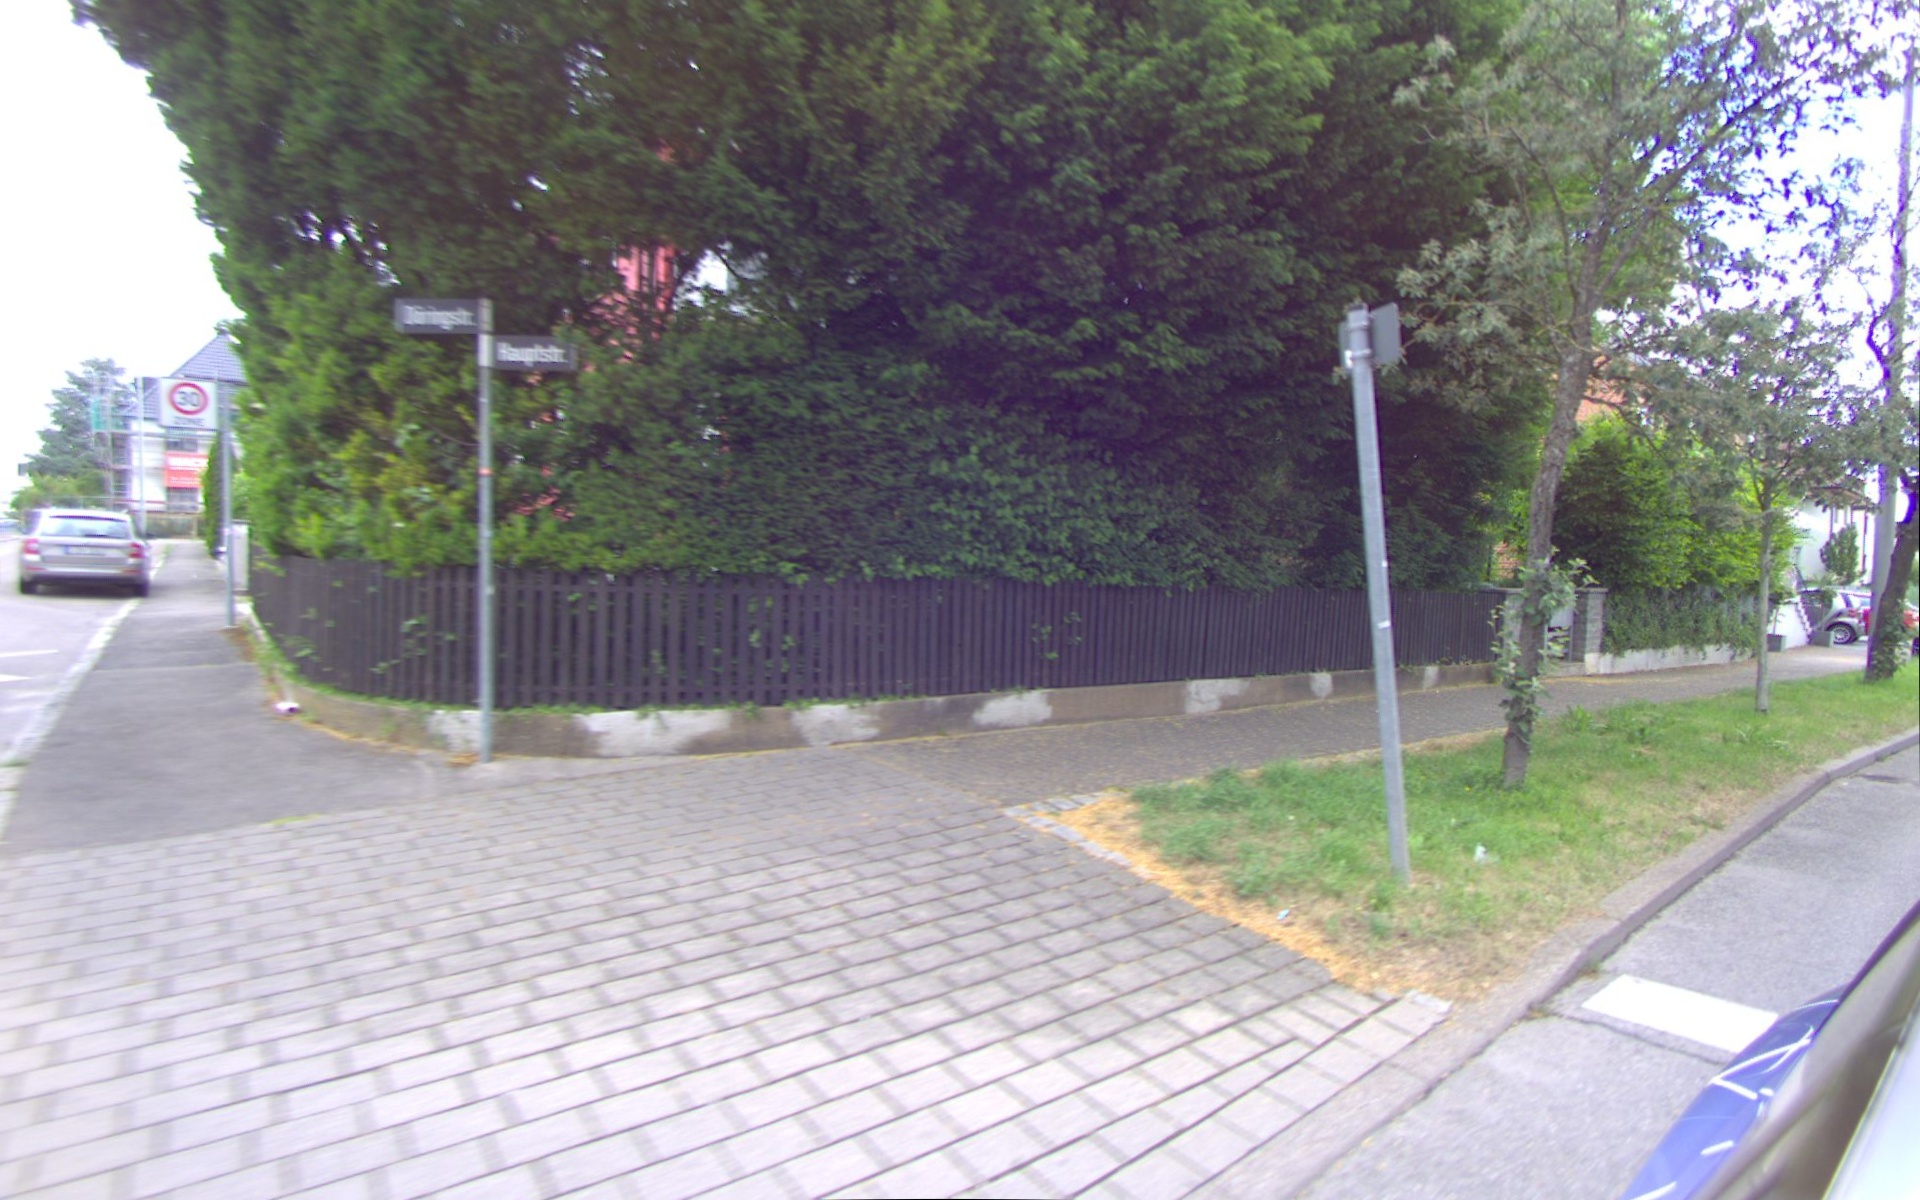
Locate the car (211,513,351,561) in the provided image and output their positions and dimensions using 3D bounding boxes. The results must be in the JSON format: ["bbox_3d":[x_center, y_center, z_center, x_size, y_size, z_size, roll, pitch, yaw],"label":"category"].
[{"bbox_3d":[-20.942,-1.898,31.263,3.439,1.340,1.621,-1,1,-40],"label":"car"}]

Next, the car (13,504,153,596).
[{"bbox_3d":[-15.855,-0.960,18.423,1.729,1.442,4.231,1,3,-39],"label":"car"}]

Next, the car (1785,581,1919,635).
[{"bbox_3d":[27.943,0.211,31.436,1.721,1.477,3.355,0,4,-44],"label":"car"}]

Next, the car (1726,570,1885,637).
[{"bbox_3d":[25.225,0.047,30.279,1.553,1.653,3.359,0,6,-42],"label":"car"}]
